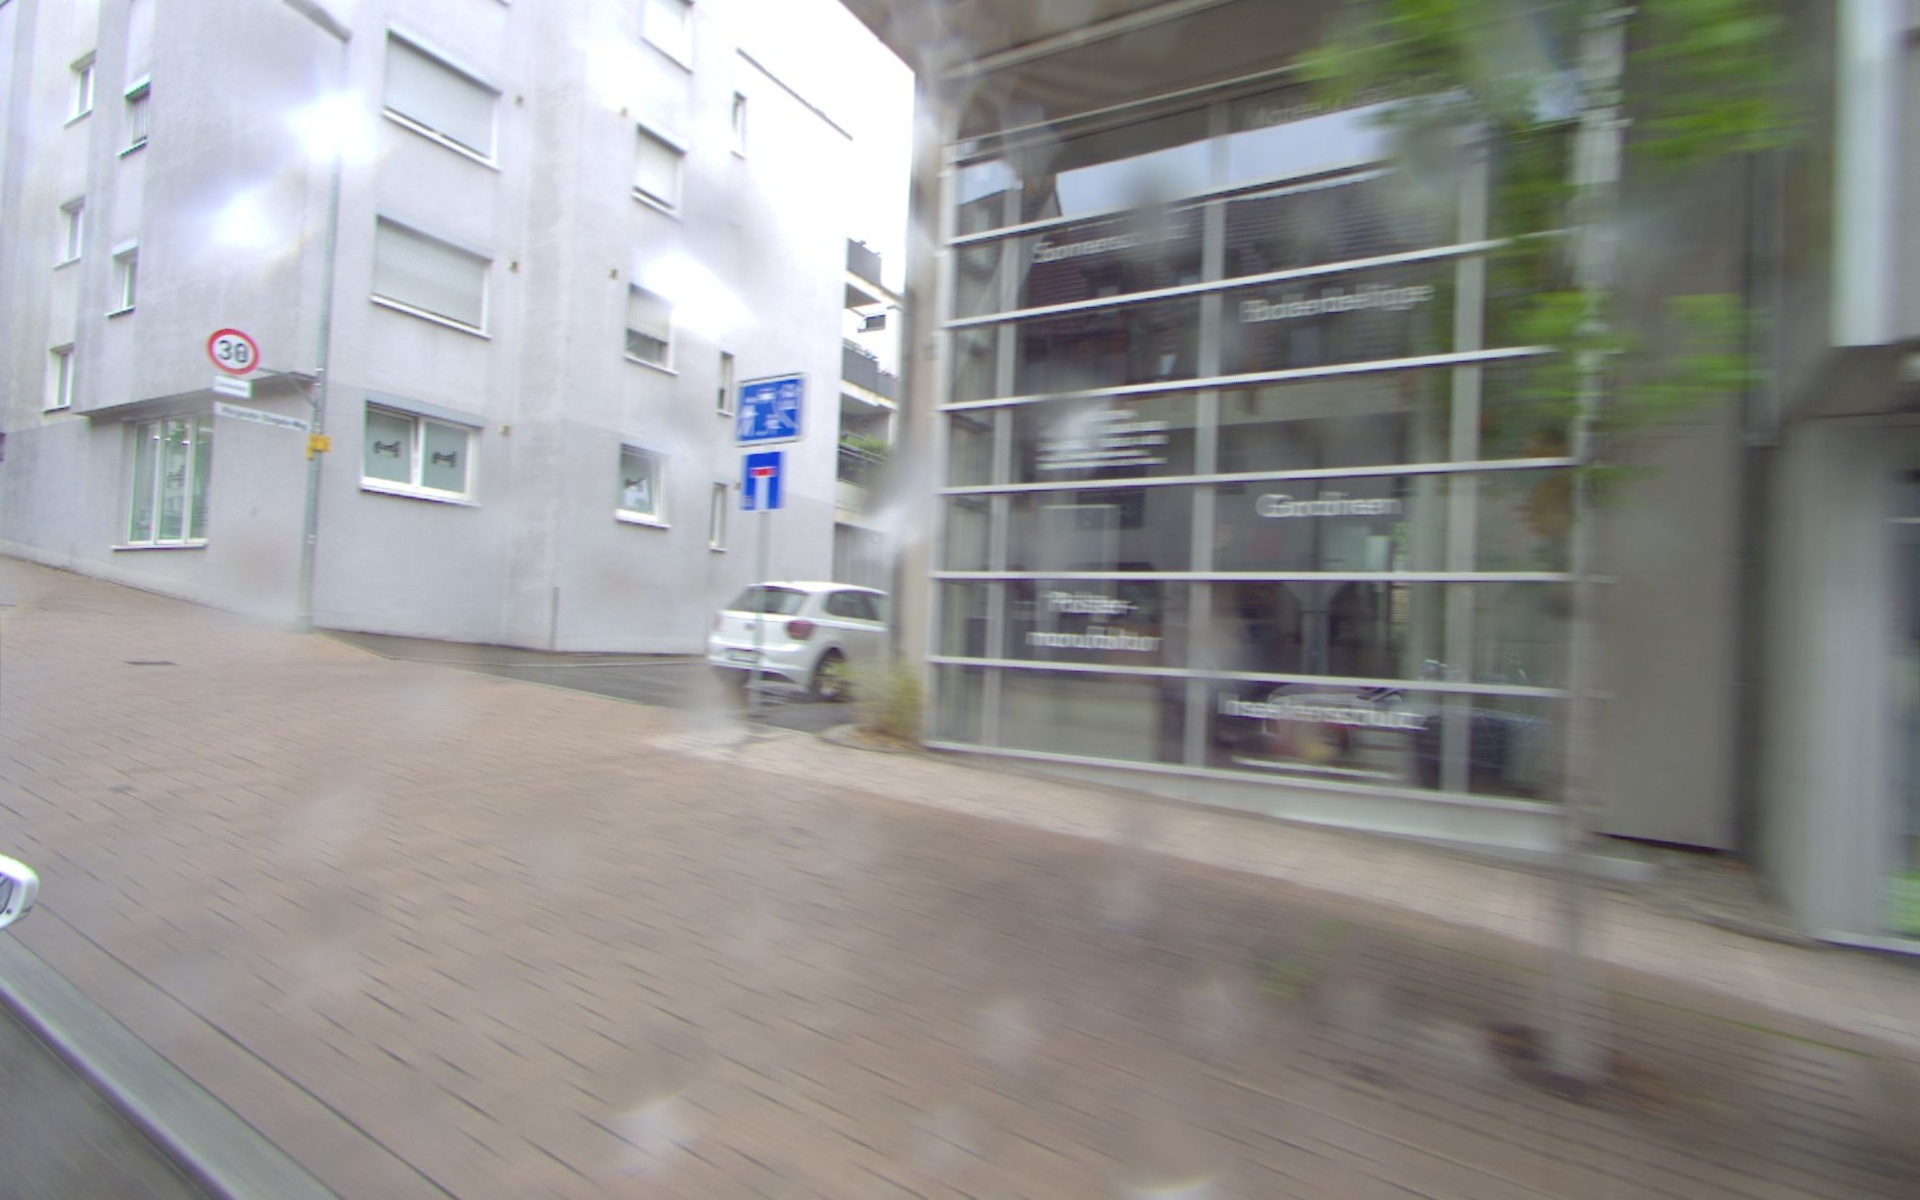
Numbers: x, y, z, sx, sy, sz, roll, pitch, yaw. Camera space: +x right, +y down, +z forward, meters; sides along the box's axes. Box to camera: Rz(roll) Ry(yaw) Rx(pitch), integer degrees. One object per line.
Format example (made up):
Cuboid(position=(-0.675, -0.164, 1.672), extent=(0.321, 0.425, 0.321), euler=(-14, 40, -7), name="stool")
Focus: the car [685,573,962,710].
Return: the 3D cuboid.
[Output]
Cuboid(position=(-1.689, 0.496, 13.656), extent=(1.715, 1.473, 3.763), euler=(5, 2, 30), name="car")
